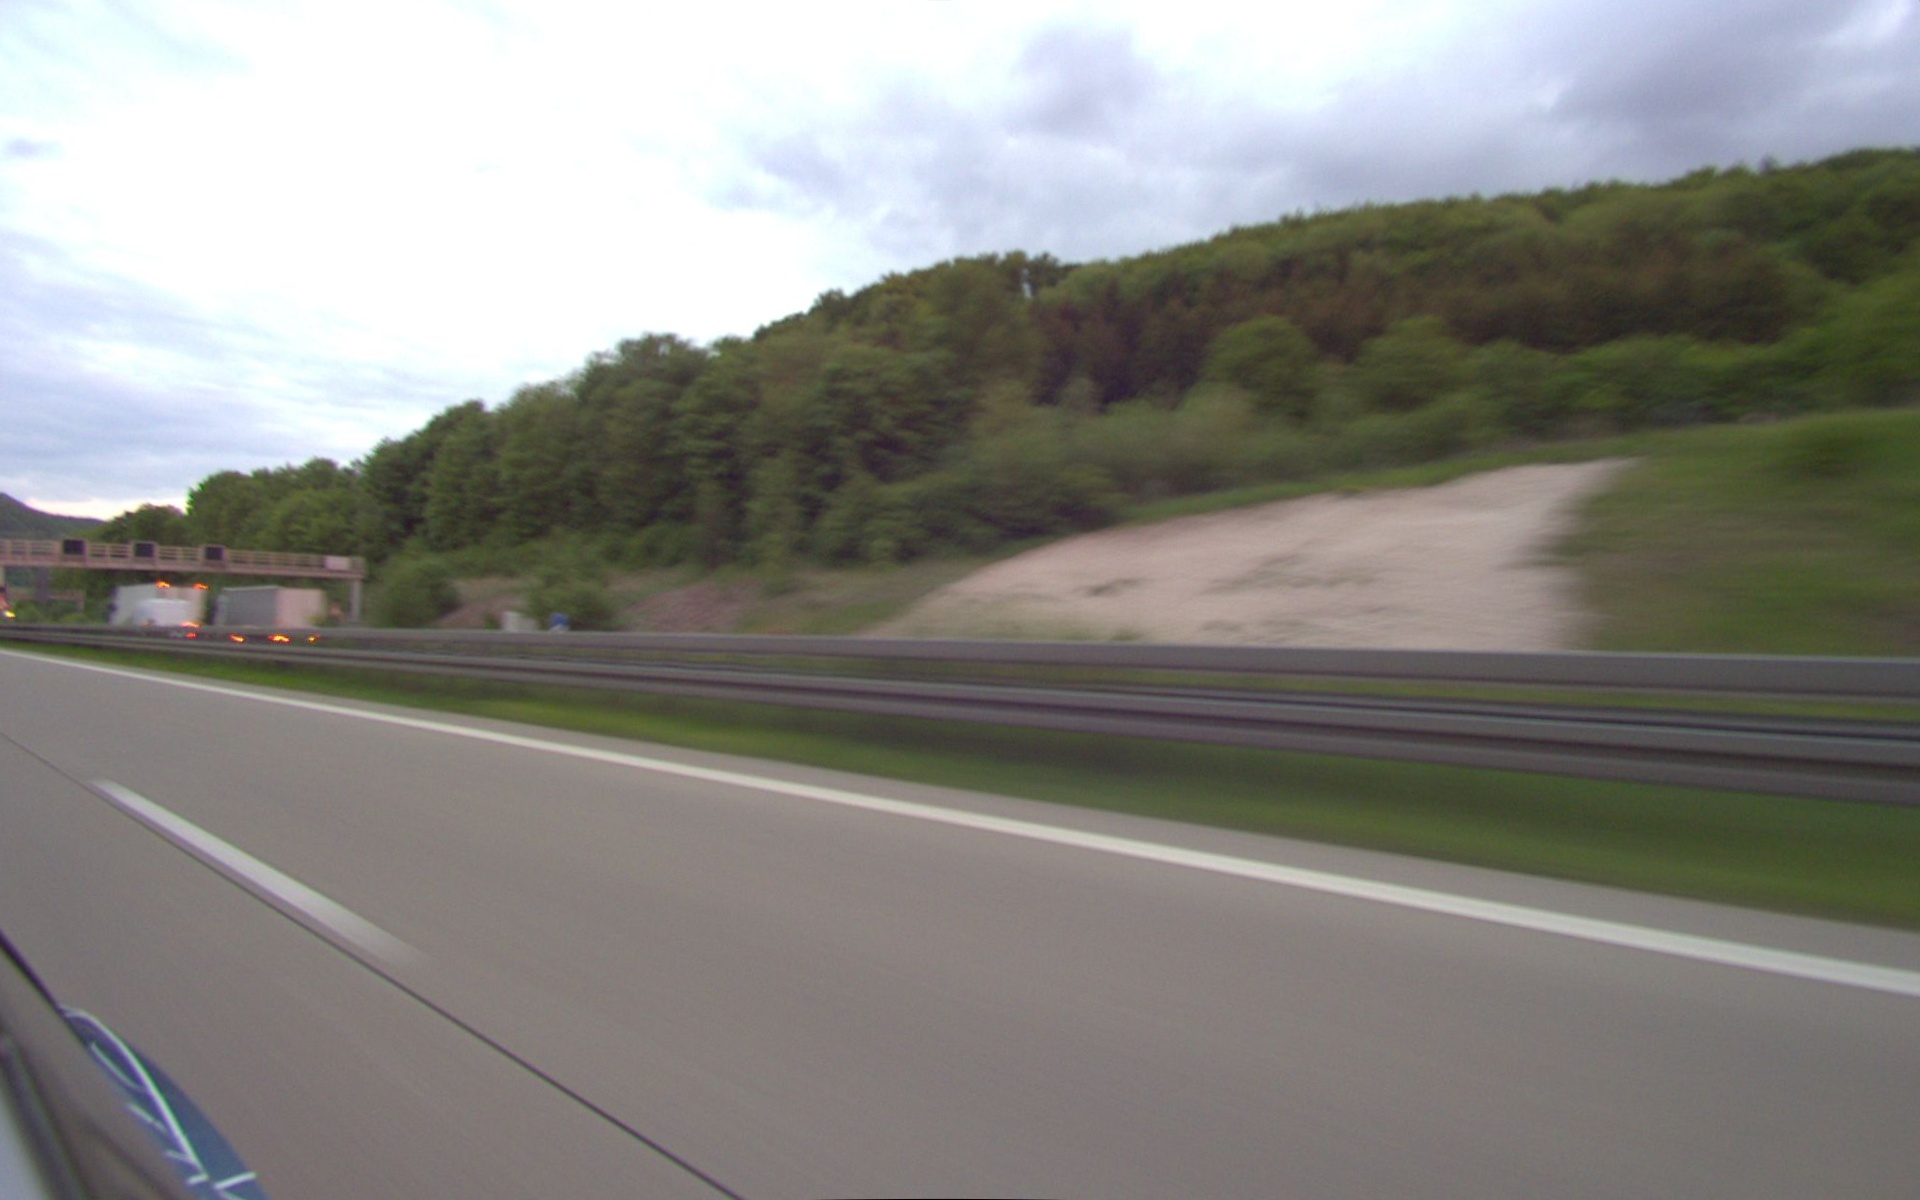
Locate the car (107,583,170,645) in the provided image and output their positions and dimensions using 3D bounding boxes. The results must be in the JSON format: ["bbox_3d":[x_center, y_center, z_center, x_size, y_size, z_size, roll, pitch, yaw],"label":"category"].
[{"bbox_3d":[-62.986,1.101,77.585,5.926,4.521,2.769,-1,-1,41],"label":"car"}]

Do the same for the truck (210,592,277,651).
[{"bbox_3d":[-53.777,1.616,75.922,5.862,4.242,2.826,-1,-2,42],"label":"truck"}]

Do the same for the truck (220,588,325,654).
[{"bbox_3d":[-48.610,1.476,71.300,13.596,4.242,2.864,-1,-2,42],"label":"truck"}]

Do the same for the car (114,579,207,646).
[{"bbox_3d":[-58.214,0.976,73.464,13.904,4.521,2.769,-1,-1,41],"label":"car"}]

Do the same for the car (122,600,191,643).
[{"bbox_3d":[-45.787,1.241,57.617,6.336,2.304,1.973,-1,-2,41],"label":"car"}]
